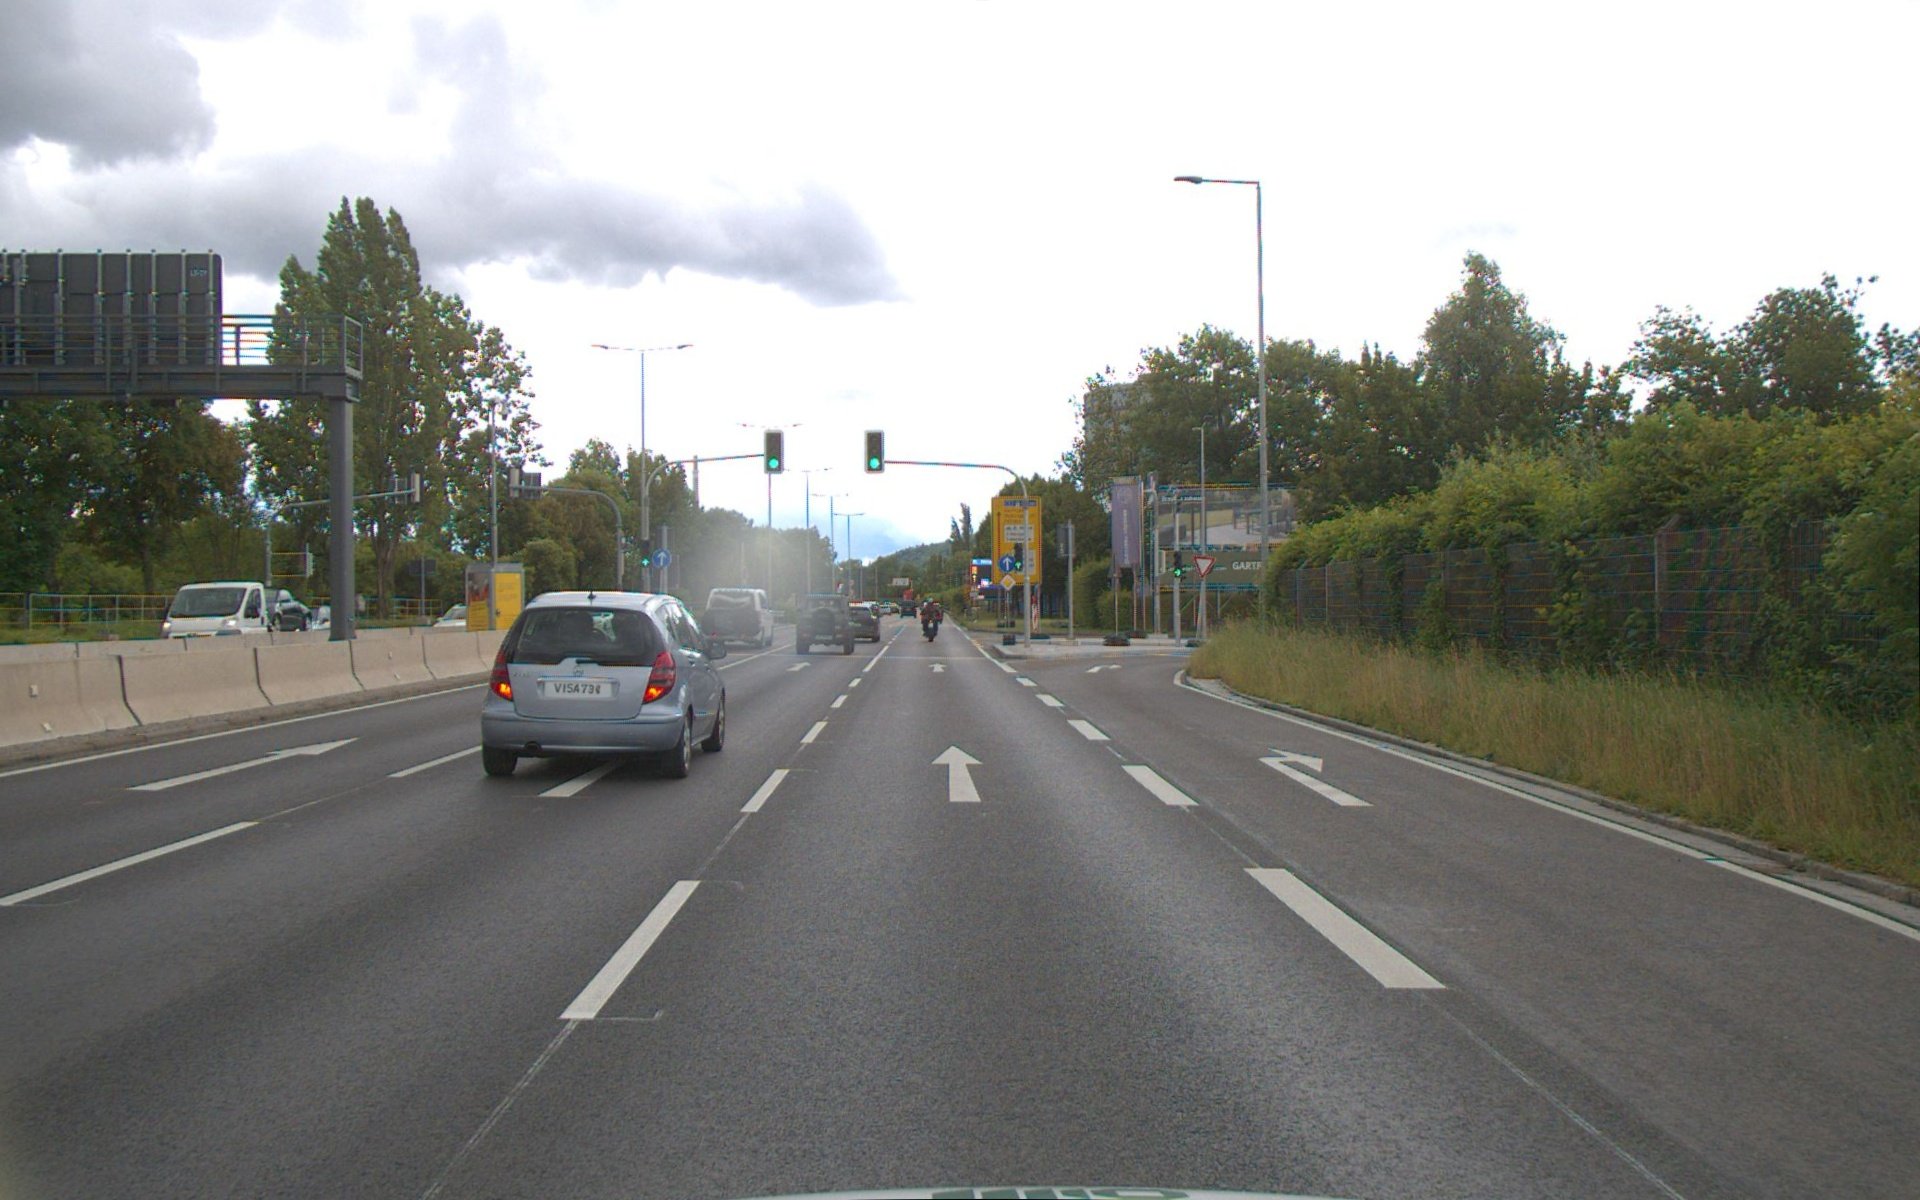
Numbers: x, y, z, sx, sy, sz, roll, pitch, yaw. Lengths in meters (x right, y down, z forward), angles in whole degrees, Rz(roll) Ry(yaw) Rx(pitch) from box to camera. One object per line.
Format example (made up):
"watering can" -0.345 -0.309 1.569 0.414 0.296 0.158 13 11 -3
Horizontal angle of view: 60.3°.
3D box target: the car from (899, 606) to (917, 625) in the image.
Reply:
"car" -5.982 1.808 191.427 1.953 2.049 3.999 2 0 -1

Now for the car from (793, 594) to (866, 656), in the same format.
"car" -3.866 0.718 49.516 1.869 1.713 3.999 2 0 -1

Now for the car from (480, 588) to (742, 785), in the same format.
"car" -3.108 0.708 15.500 1.676 1.557 3.999 2 0 -2

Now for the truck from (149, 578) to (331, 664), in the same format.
"truck" -18.991 0.522 44.050 2.160 2.049 6.300 2 0 -1

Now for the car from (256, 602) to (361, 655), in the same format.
"car" -22.500 0.941 57.320 1.953 1.714 4.410 2 0 -2

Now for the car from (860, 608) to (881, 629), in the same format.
"car" -9.072 1.832 168.228 1.953 2.049 3.999 2 0 -1

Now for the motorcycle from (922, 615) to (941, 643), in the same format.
"motorcycle" -1.127 1.122 65.257 0.692 1.058 2.027 2 0 0

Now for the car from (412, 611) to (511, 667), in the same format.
"car" -16.583 1.261 55.256 1.953 1.697 4.693 2 0 -2

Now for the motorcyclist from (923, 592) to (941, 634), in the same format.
"motorcyclist" -1.105 0.507 65.241 0.670 1.638 0.845 2 0 0

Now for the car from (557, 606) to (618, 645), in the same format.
"car" -17.552 1.160 78.051 1.953 1.714 4.410 2 0 -2

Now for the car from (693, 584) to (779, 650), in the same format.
"car" -7.100 0.521 52.959 2.170 1.959 5.000 2 0 -2

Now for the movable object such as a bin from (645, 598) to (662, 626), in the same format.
"movable object such as a bin" -12.306 0.486 66.365 0.530 1.077 0.740 2 0 -1

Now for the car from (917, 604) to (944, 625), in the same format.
"car" -2.307 1.126 128.383 1.953 1.579 3.998 2 0 -2

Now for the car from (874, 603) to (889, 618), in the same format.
"car" -11.305 1.539 238.043 1.953 2.049 3.999 2 0 -1

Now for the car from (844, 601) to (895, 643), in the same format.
"car" -3.440 0.829 63.309 1.803 1.489 3.999 2 0 -1

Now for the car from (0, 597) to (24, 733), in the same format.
"car" -15.468 0.966 23.268 1.953 2.049 4.680 2 0 -1
